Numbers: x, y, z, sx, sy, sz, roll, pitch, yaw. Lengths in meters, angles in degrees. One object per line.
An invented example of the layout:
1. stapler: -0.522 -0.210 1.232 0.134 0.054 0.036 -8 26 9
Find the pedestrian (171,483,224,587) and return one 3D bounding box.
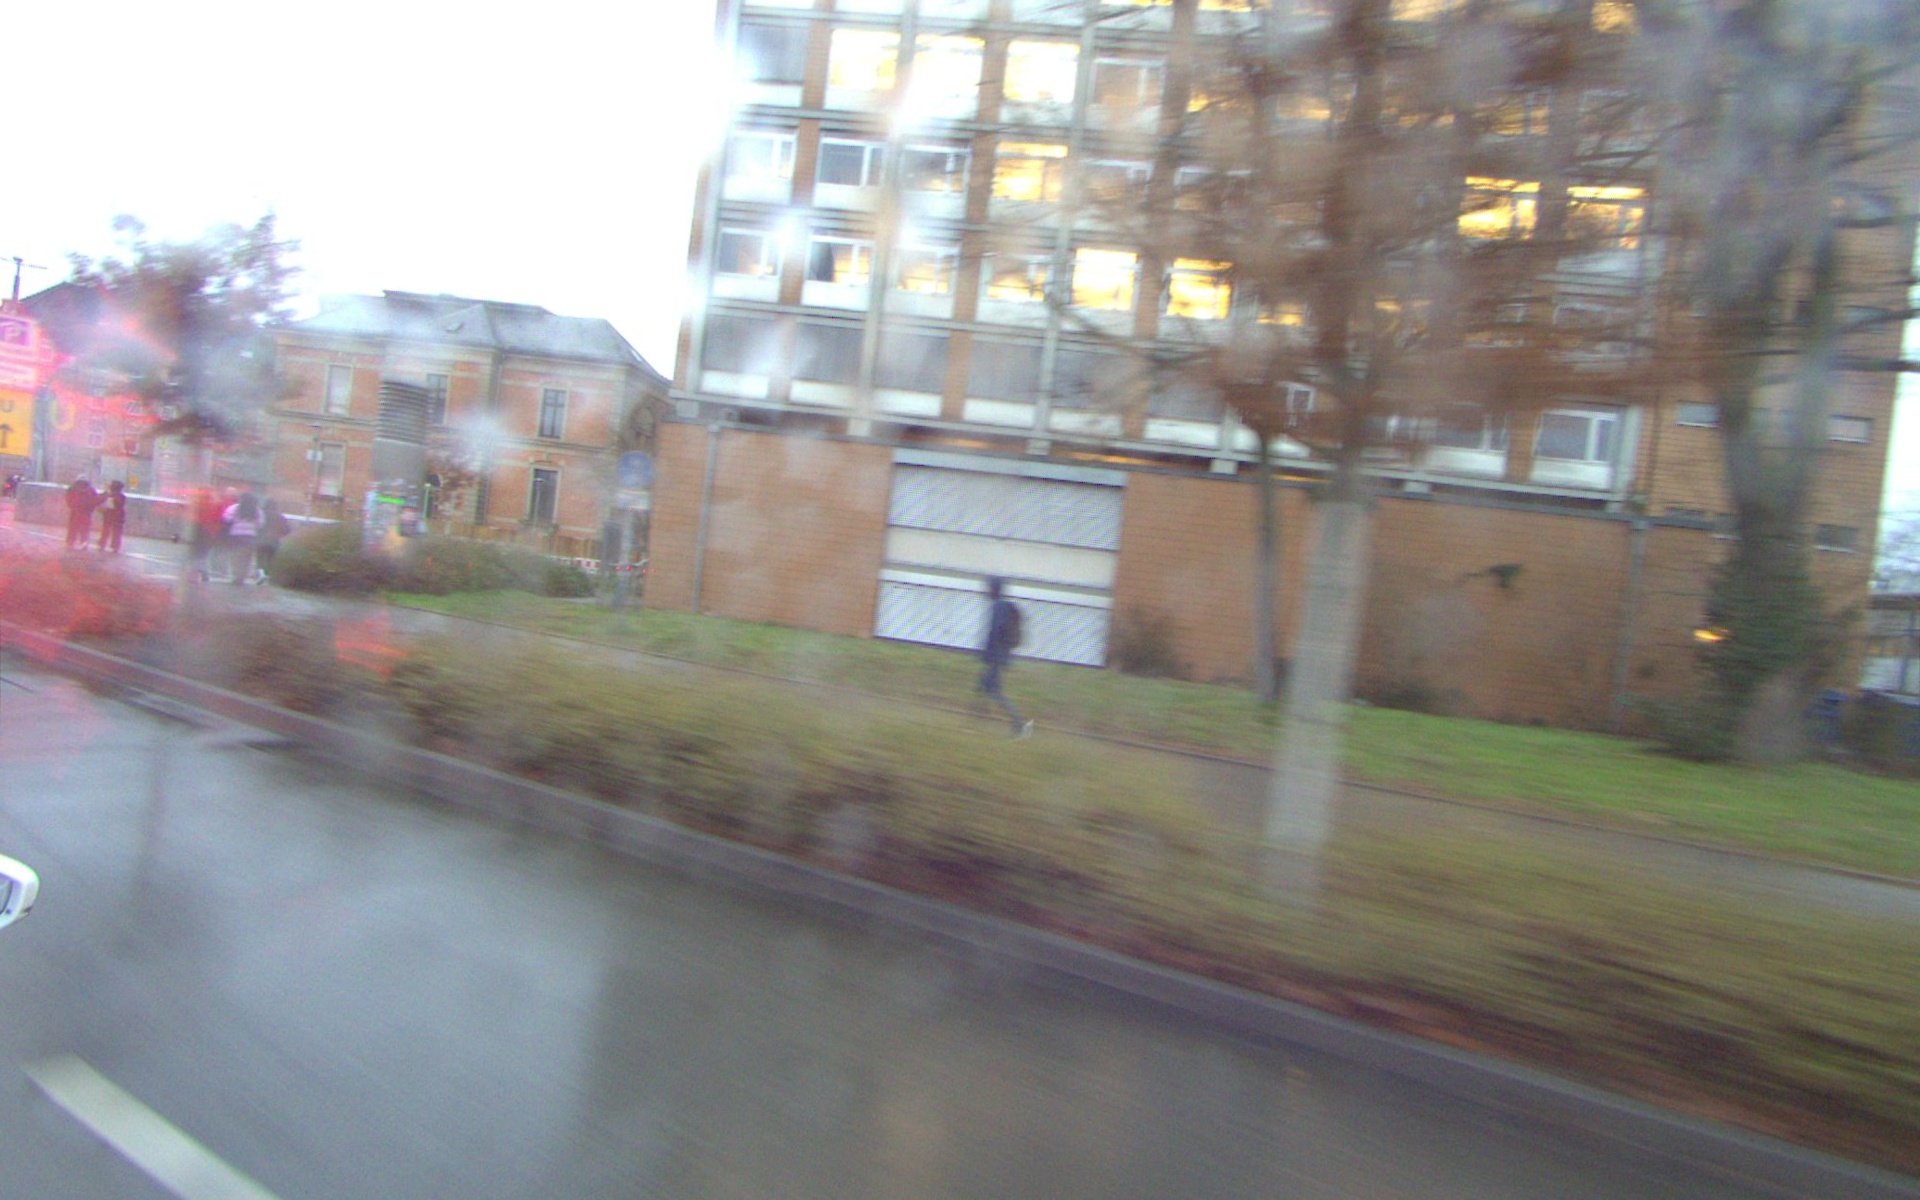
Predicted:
1. pedestrian: -13.825 -1.171 18.247 0.579 1.805 0.763 4 2 -30

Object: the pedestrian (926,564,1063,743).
1. pedestrian: 0.371 0.543 10.650 1.052 1.710 0.808 7 3 29

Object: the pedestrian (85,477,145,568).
1. pedestrian: -20.370 -1.865 24.265 0.801 2.039 0.753 8 2 -30

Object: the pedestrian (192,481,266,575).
1. pedestrian: -15.302 -1.489 21.079 0.735 1.814 0.853 7 1 17

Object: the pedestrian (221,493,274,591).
1. pedestrian: -13.164 -1.076 18.602 0.662 1.711 0.606 4 4 -30

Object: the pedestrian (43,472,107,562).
1. pedestrian: -20.857 -1.958 23.725 0.801 1.954 0.753 8 2 -30

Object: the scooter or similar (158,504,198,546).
1. scooter or similar: -25.048 -2.373 32.235 0.507 1.229 1.377 6 0 -19

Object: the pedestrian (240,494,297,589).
1. pedestrian: -13.183 -1.107 19.186 0.712 1.709 0.754 6 1 -31
